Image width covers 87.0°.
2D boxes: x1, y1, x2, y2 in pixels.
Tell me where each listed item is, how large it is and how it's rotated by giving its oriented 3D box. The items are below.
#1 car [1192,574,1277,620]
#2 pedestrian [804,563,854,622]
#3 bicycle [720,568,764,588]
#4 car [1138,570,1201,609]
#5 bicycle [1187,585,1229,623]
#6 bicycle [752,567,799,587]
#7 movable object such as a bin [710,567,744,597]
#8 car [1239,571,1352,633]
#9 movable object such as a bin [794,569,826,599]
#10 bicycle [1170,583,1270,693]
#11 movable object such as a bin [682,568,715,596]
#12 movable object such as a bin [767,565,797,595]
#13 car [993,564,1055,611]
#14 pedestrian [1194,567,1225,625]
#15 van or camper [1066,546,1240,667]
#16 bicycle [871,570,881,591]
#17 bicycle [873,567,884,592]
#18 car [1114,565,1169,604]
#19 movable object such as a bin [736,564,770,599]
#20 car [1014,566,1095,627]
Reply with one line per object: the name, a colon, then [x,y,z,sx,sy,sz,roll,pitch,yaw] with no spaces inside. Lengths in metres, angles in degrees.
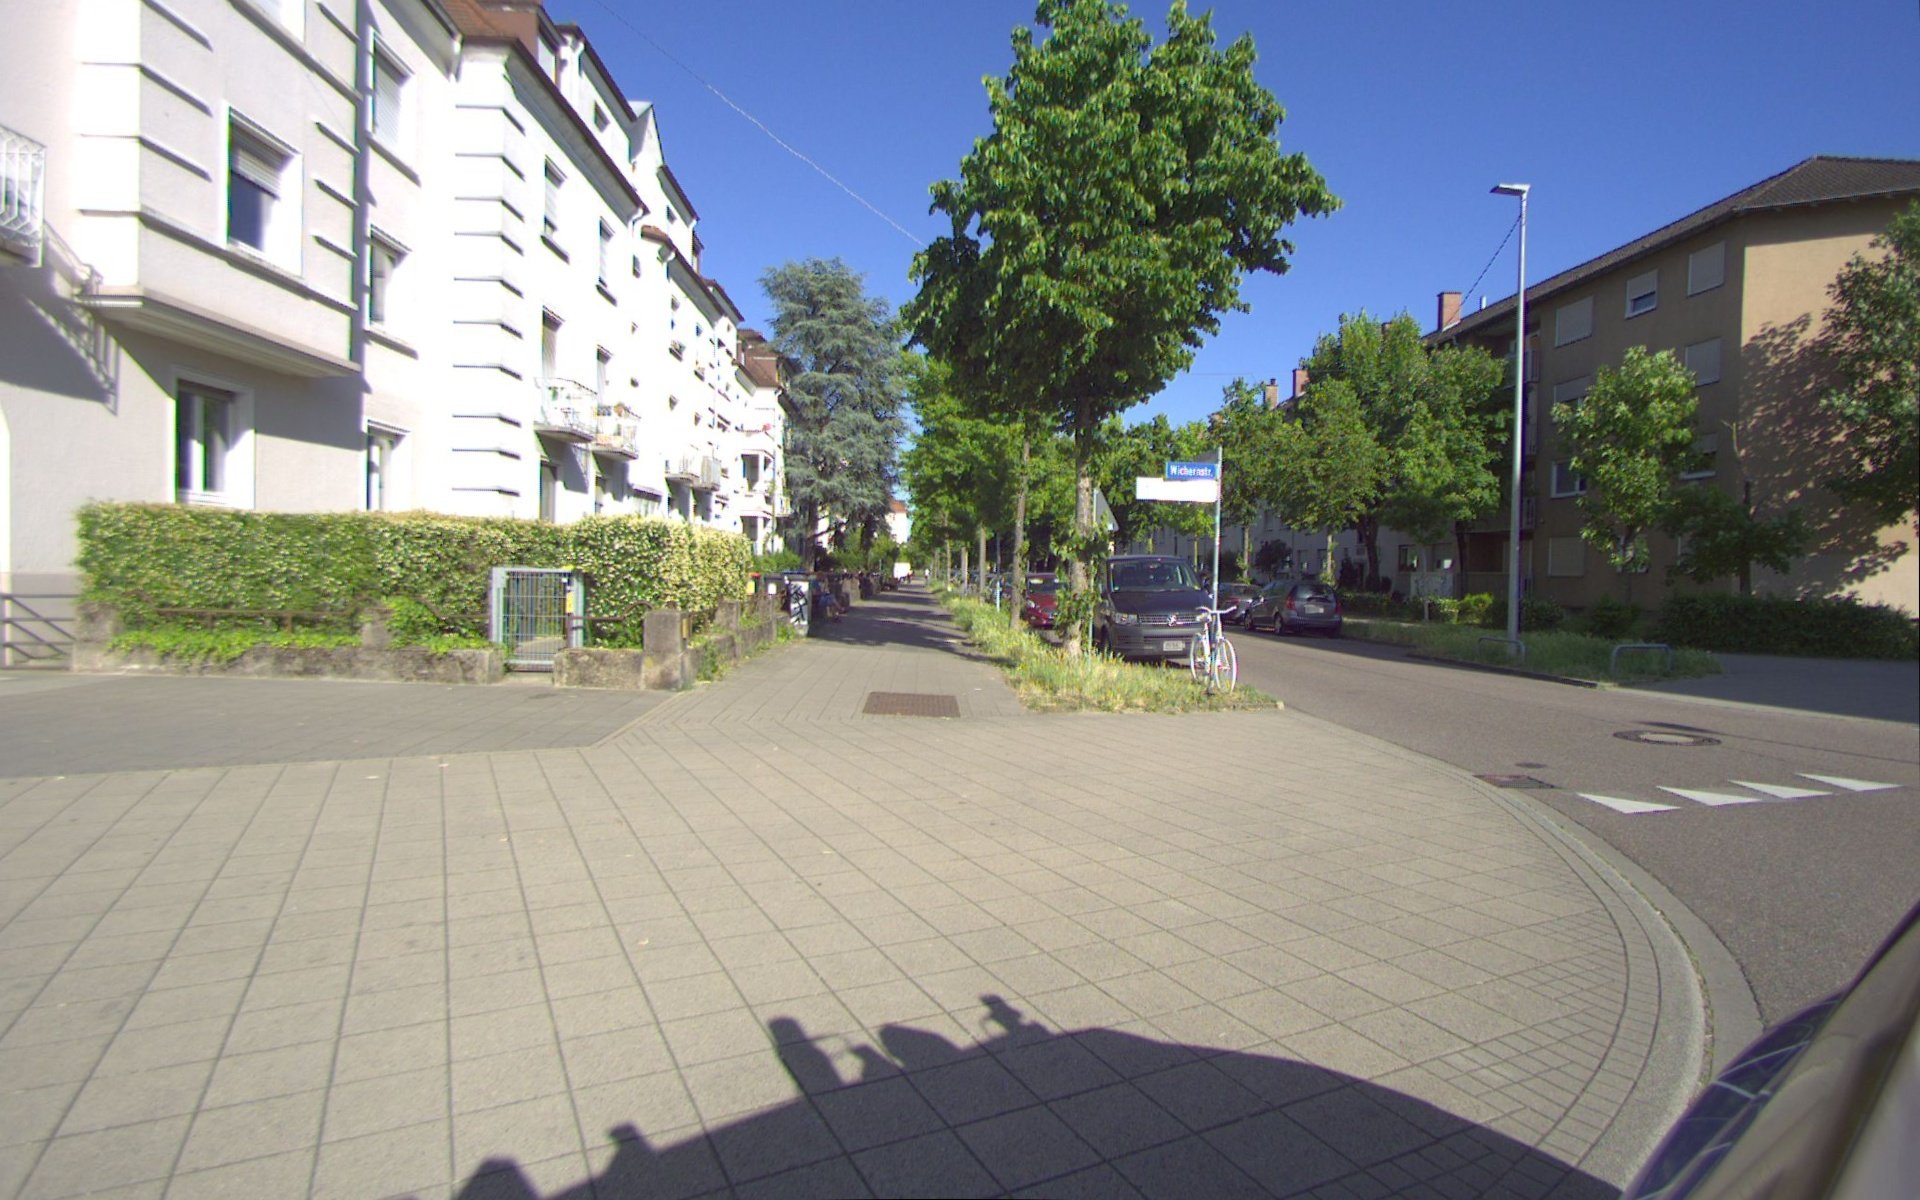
car: [9.467,-0.144,35.228,1.632,1.412,4.096,-1,3,-3]
pedestrian: [-3.060,-0.182,23.690,1.064,1.311,0.820,-1,3,-3]
bicycle: [-10.516,-1.070,48.905,1.999,0.929,0.559,2,2,3]
car: [9.086,-0.486,44.274,1.688,1.545,4.004,-1,3,-3]
bicycle: [7.308,0.109,29.902,0.539,1.024,1.922,0,3,-7]
bicycle: [-8.486,-1.064,46.508,2.027,0.778,0.626,-3,2,-1]
movable object such as a bin: [-7.092,-0.567,30.841,0.764,0.873,1.009,-1,2,3]
car: [9.687,-0.007,29.553,1.692,1.581,4.112,2,2,-3]
movable object such as a bin: [-4.554,-0.488,30.845,0.764,0.873,1.010,-1,2,3]
bicycle: [3.206,0.418,12.661,0.519,1.208,2.033,0,2,-6]
movable object such as a bin: [-7.928,-0.550,30.693,0.764,0.832,0.743,-1,2,3]
movable object such as a bin: [-5.421,-0.604,30.848,0.764,0.873,0.765,-1,2,3]
car: [2.433,-0.533,39.444,1.899,1.586,4.597,3,2,-2]
pedestrian: [7.356,-0.133,29.915,0.679,1.660,1.046,-1,2,3]
van or camper: [3.344,-0.018,18.738,1.957,1.885,5.392,-1,3,-2]
bicycle: [-4.505,-1.046,54.498,0.425,1.024,2.252,-5,3,-4]
bicycle: [-4.183,-1.045,51.991,0.481,1.211,2.178,-1,2,-3]
car: [8.847,-0.802,49.535,1.675,1.700,4.228,2,2,-3]
movable object such as a bin: [-6.283,-0.568,30.766,0.764,1.039,1.010,-1,2,3]
car: [2.765,-0.188,30.664,1.868,1.633,4.976,0,3,-1]
